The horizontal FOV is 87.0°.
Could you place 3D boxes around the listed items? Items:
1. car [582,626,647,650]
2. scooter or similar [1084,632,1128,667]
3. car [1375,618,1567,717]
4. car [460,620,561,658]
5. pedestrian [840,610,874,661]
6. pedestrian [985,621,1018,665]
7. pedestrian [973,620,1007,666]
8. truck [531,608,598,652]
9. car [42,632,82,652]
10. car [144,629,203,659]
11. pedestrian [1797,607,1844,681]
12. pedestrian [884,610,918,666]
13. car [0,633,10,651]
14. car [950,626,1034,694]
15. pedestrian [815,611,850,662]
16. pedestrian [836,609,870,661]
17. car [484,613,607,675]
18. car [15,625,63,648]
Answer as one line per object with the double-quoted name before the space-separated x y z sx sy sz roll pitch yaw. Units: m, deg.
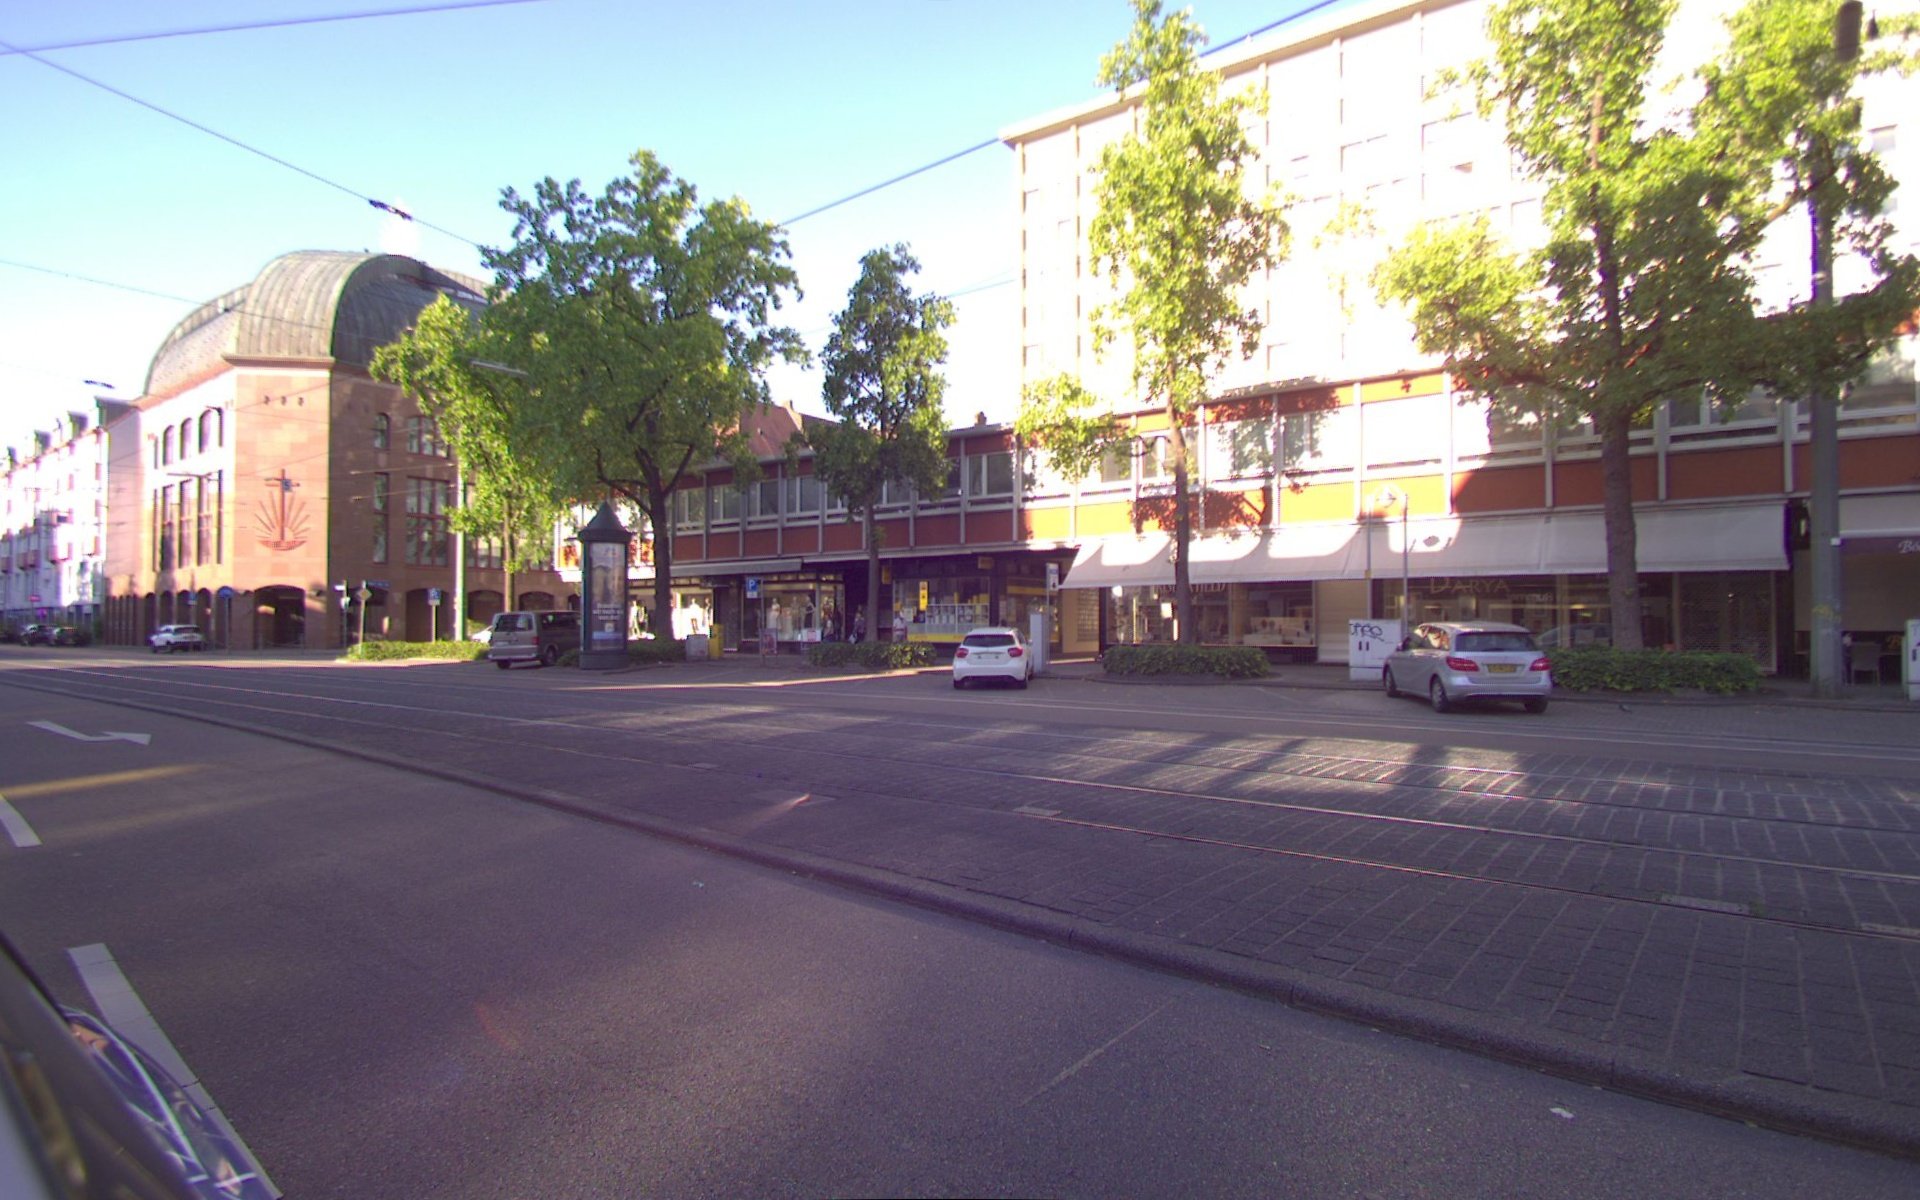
"car" -23.519 2.563 68.900 4.519 1.585 1.835 -1 -2 34
"scooter or similar" 4.659 1.565 32.384 1.335 1.102 0.470 -1 -1 36
"car" 9.295 1.148 18.830 1.805 1.578 4.271 0 0 7
"car" -26.026 2.221 58.700 2.128 1.982 4.934 2 0 36
"pedestrian" -3.881 1.340 38.163 0.898 1.892 0.908 -1 -2 36
"pedestrian" 1.421 1.473 34.533 0.898 1.481 0.681 -1 -2 36
"pedestrian" 1.012 1.438 33.970 0.898 1.509 0.681 -1 -2 36
"truck" -25.768 1.962 65.873 4.519 2.784 1.835 -1 -2 34
"car" -66.413 3.088 74.853 3.679 1.411 1.626 -1 -1 39
"car" -45.364 2.528 58.326 4.269 1.602 1.581 -1 0 36
"pedestrian" 18.781 0.961 22.095 0.705 1.575 0.864 -2 -2 38
"pedestrian" -2.020 1.291 34.498 0.903 1.892 0.903 1 -2 -24
"car" -86.734 3.747 90.584 4.555 1.520 1.807 -1 -1 38
"car" 0.881 1.429 25.335 1.745 1.440 4.261 -1 0 7
"pedestrian" -4.766 1.371 37.869 0.898 1.892 0.908 -1 -2 36
"pedestrian" -4.145 1.360 39.285 0.898 1.963 0.984 -1 -2 36
"car" -14.618 1.502 36.048 1.831 1.943 5.112 0 0 6
"car" -71.873 2.860 78.994 4.552 1.713 1.941 -1 -1 37
